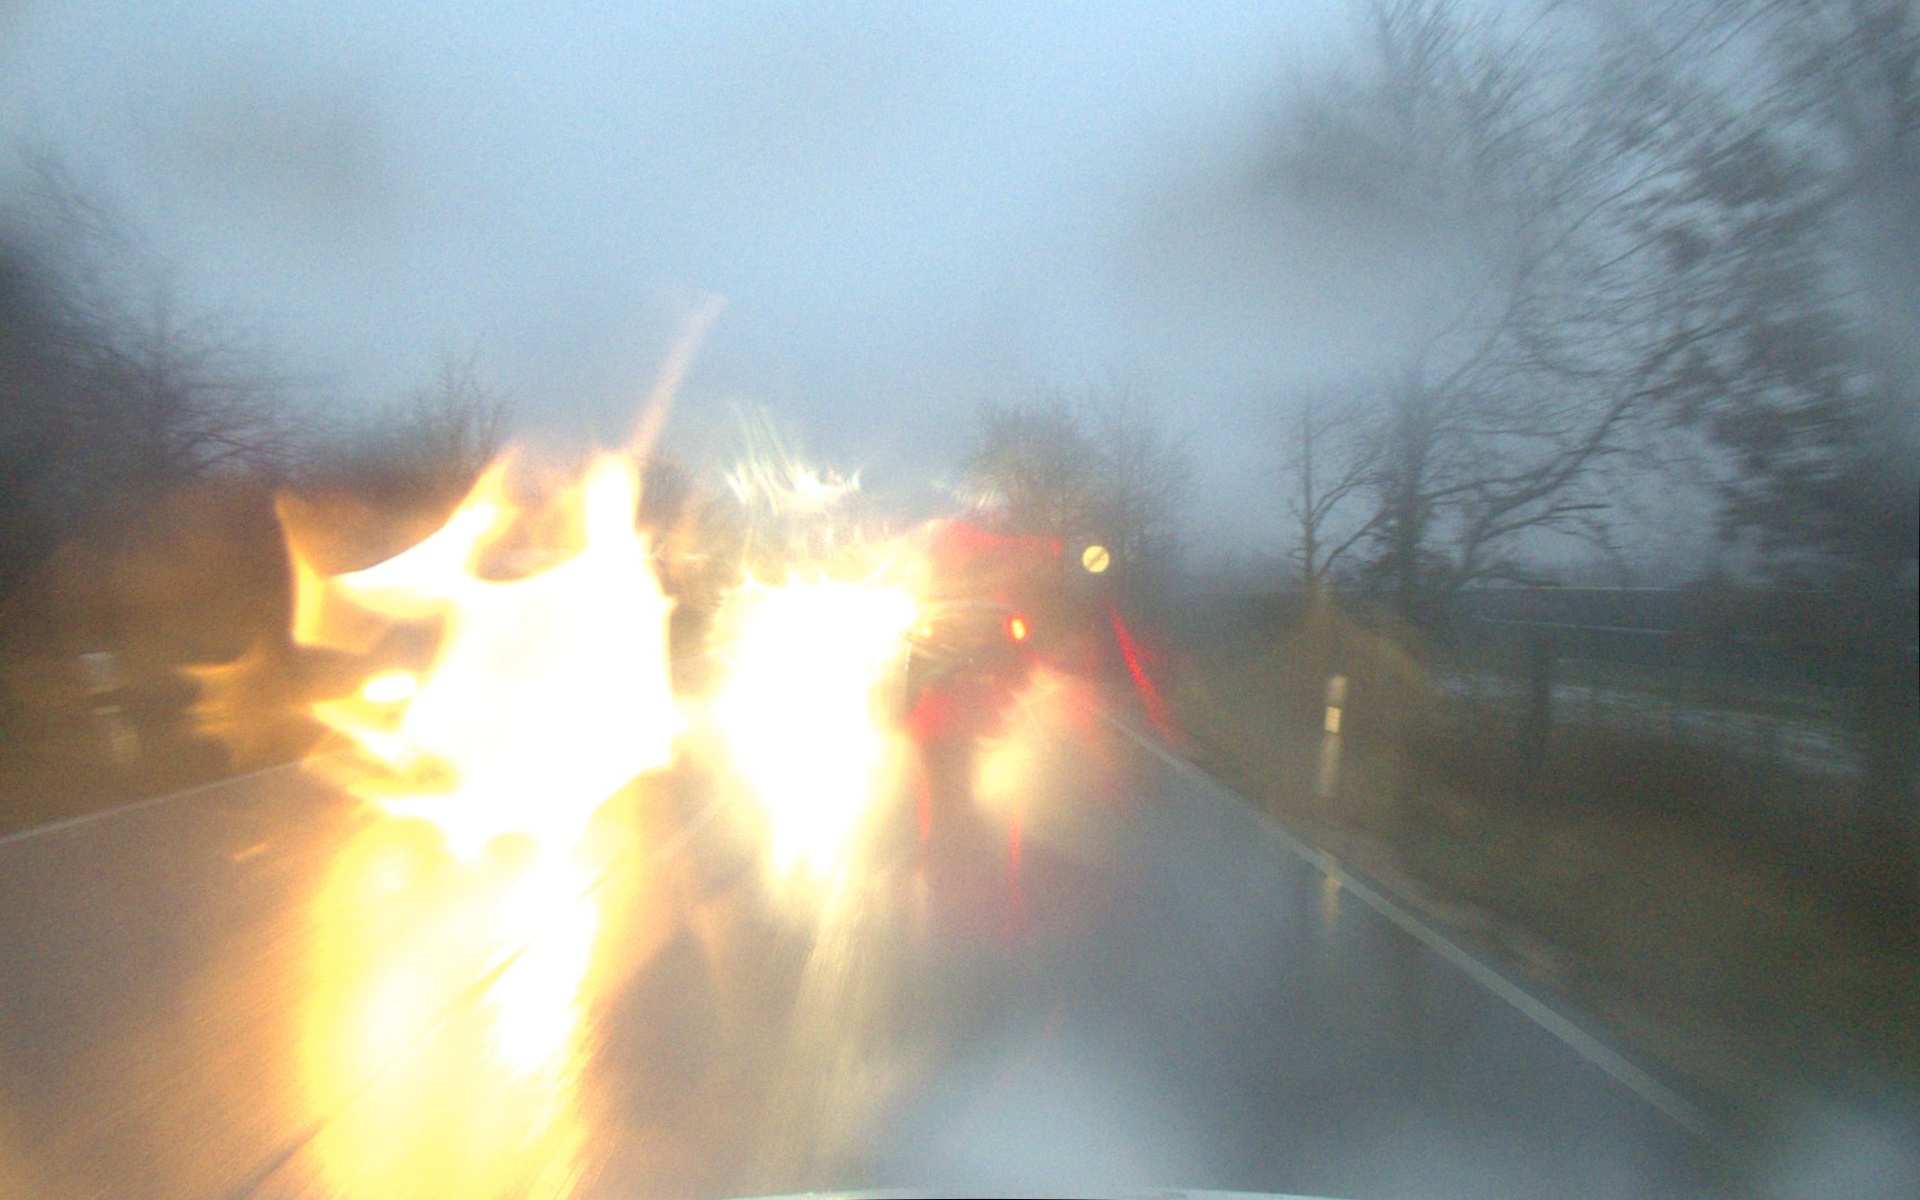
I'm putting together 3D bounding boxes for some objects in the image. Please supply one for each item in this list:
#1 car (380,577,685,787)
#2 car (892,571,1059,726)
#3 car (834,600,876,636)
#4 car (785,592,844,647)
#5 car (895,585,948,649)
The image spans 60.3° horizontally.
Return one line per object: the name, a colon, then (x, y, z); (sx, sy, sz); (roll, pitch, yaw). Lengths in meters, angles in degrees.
car: (-3.575, 0.623, 14.572); (1.657, 1.557, 4.084); (1, 0, -1)
car: (0.190, 0.583, 21.790); (1.953, 1.816, 4.000); (1, 0, 0)
car: (-4.931, 0.808, 77.907); (1.743, 1.624, 4.691); (1, 0, -1)
car: (-4.633, 0.597, 53.170); (1.717, 1.676, 4.047); (1, 0, -3)
car: (-1.197, 0.529, 52.421); (1.542, 1.907, 3.709); (1, 0, 0)
